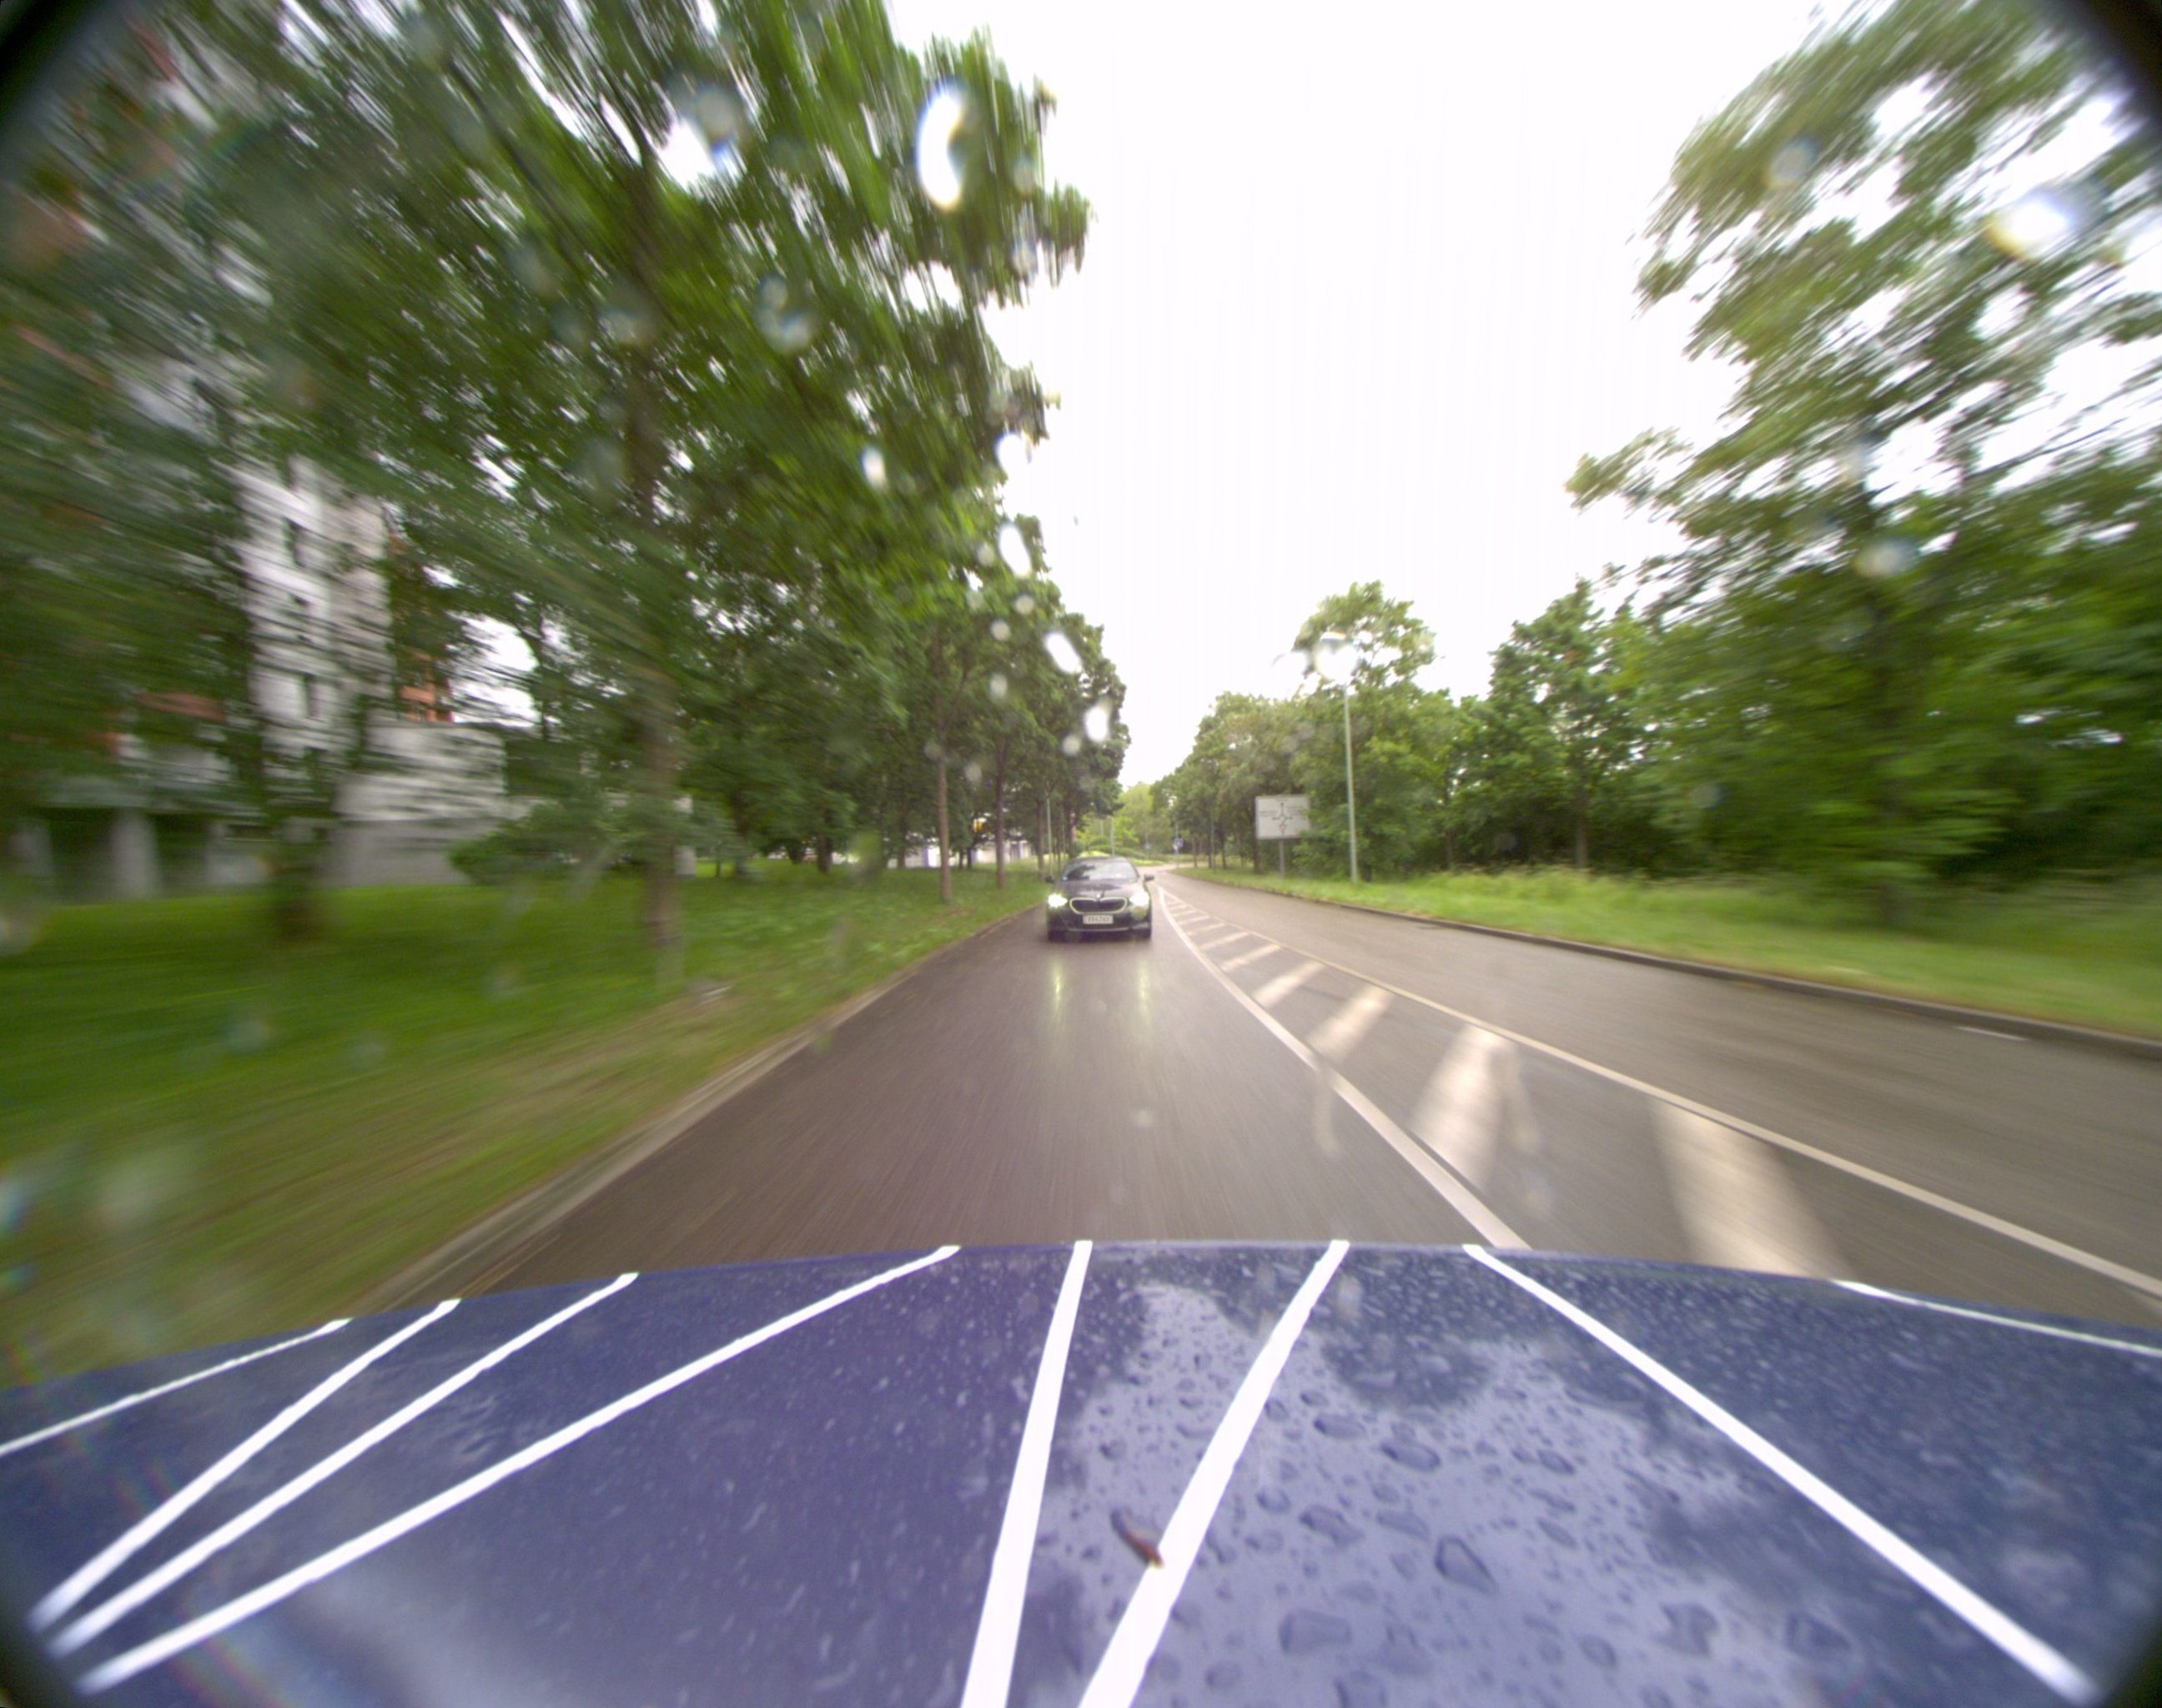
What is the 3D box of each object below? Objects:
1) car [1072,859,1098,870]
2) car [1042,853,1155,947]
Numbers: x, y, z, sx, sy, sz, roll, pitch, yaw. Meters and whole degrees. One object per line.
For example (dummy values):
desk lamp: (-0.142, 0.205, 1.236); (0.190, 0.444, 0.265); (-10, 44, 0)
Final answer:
car: (0.467, 1.269, 91.426); (3.052, 1.293, 1.503); (-2, 0, -3)
car: (0.397, 0.777, 14.796); (1.845, 1.471, 4.000); (-2, 1, 3)
